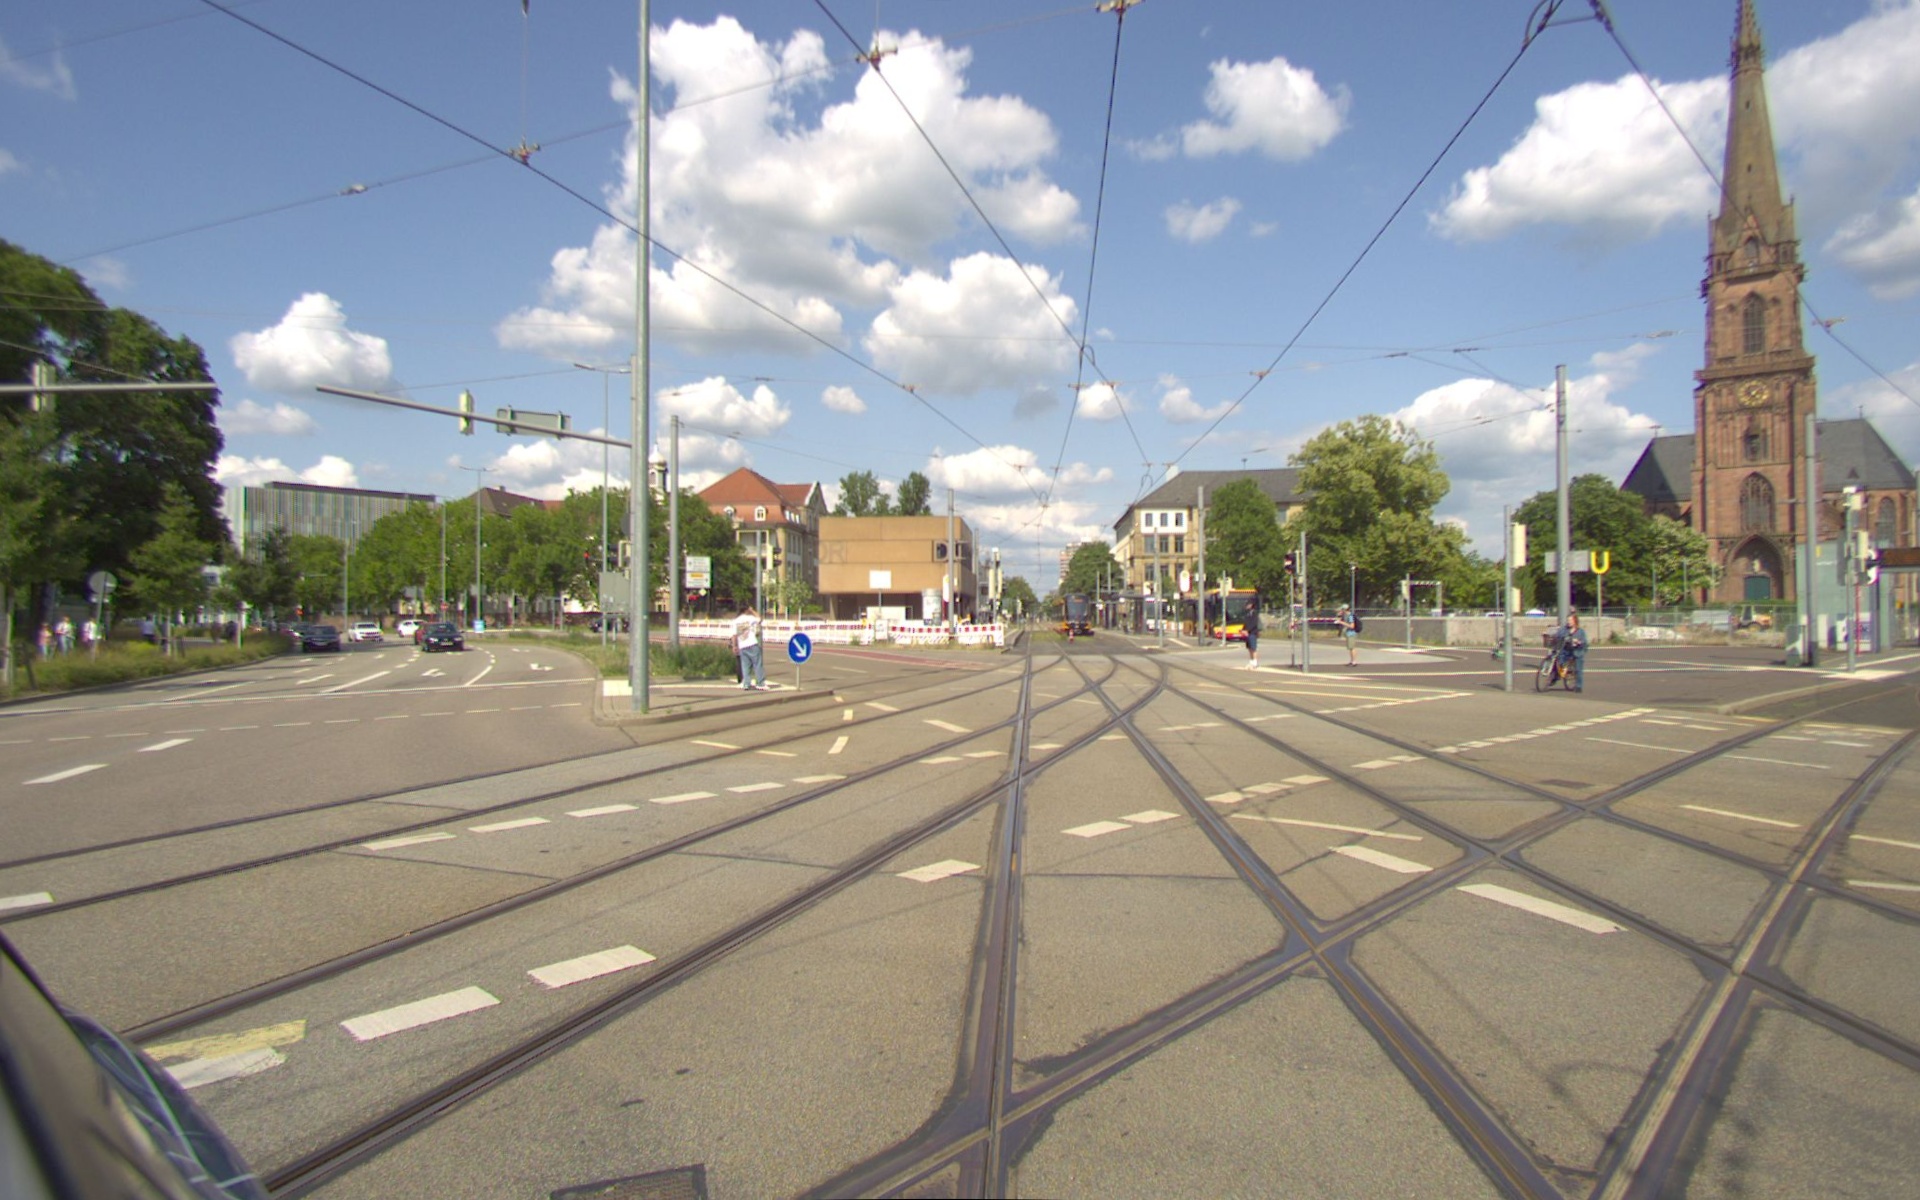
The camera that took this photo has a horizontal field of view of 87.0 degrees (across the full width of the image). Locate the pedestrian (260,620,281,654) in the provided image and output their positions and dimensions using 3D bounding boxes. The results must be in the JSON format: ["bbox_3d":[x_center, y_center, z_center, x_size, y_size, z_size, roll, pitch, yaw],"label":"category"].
[{"bbox_3d":[-41.908,2.235,61.508,0.949,2.029,0.771,-1,0,-29],"label":"pedestrian"}]

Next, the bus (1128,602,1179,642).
[{"bbox_3d":[19.477,2.344,103.116,3.565,3.659,18.833,0,-2,6],"label":"bus"}]

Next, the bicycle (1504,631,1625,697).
[{"bbox_3d":[11.737,1.212,19.636,2.261,1.197,0.998,1,-2,-29],"label":"bicycle"}]

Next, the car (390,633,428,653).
[{"bbox_3d":[-33.950,2.623,62.334,1.572,1.142,3.637,-1,0,-36],"label":"car"}]

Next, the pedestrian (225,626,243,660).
[{"bbox_3d":[-38.458,2.256,53.611,0.755,1.748,0.721,-1,0,-35],"label":"pedestrian"}]

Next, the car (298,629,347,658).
[{"bbox_3d":[-35.151,2.362,55.882,1.795,1.474,4.013,0,-1,-26],"label":"car"}]

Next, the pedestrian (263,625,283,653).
[{"bbox_3d":[-43.254,2.457,63.726,0.912,1.748,0.771,-1,0,-29],"label":"pedestrian"}]

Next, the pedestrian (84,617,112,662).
[{"bbox_3d":[-33.318,1.528,39.120,0.605,1.713,0.892,3,-2,-32],"label":"pedestrian"}]

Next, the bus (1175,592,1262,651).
[{"bbox_3d":[15.452,1.333,61.535,2.798,3.160,12.824,0,-1,4],"label":"bus"}]

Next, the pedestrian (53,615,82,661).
[{"bbox_3d":[-34.053,1.449,38.608,0.605,1.713,0.892,3,-2,-32],"label":"pedestrian"}]

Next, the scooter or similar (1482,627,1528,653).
[{"bbox_3d":[24.806,1.823,46.083,1.626,1.114,0.851,-2,0,7],"label":"scooter or similar"}]

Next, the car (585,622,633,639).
[{"bbox_3d":[-30.591,2.656,88.258,3.724,1.345,1.739,-1,0,-29],"label":"car"}]

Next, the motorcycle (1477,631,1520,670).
[{"bbox_3d":[17.874,1.666,33.597,1.422,1.246,0.486,1,-1,-24],"label":"motorcycle"}]

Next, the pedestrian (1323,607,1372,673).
[{"bbox_3d":[10.967,1.103,28.657,0.754,1.811,1.032,-1,0,-22],"label":"pedestrian"}]

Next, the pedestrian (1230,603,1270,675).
[{"bbox_3d":[7.958,1.048,27.727,0.824,1.917,0.759,-2,0,33],"label":"pedestrian"}]

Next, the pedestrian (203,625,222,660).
[{"bbox_3d":[-38.904,2.203,52.655,0.755,1.748,0.721,-1,0,-35],"label":"pedestrian"}]

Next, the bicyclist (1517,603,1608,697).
[{"bbox_3d":[11.695,0.955,19.640,1.279,1.744,0.998,1,-2,-29],"label":"bicyclist"}]

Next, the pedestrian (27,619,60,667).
[{"bbox_3d":[-32.339,1.510,35.712,0.605,1.635,0.892,3,-2,-30],"label":"pedestrian"}]

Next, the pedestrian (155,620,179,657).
[{"bbox_3d":[-38.107,1.852,48.637,0.732,1.767,0.892,3,-2,-32],"label":"pedestrian"}]

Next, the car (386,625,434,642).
[{"bbox_3d":[-47.463,2.860,87.276,3.982,1.364,1.763,-1,0,28],"label":"car"}]

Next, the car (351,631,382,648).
[{"bbox_3d":[-44.770,2.971,76.296,1.877,1.142,4.114,0,-1,-32],"label":"car"}]

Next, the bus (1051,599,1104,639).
[{"bbox_3d":[10.556,1.781,93.431,3.431,3.208,23.752,0,-1,3],"label":"bus"}]

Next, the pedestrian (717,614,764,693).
[{"bbox_3d":[-4.739,1.136,21.852,0.835,1.660,0.695,1,-1,-27],"label":"pedestrian"}]

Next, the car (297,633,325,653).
[{"bbox_3d":[-50.308,3.325,78.488,1.796,1.474,4.011,0,-1,-32],"label":"car"}]

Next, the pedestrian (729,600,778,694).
[{"bbox_3d":[-4.342,0.976,21.239,0.835,1.931,0.695,1,-1,-27],"label":"pedestrian"}]

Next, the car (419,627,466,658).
[{"bbox_3d":[-26.323,2.112,51.609,1.795,1.474,4.013,0,-1,-22],"label":"car"}]

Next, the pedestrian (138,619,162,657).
[{"bbox_3d":[-38.787,1.805,48.471,0.732,1.759,0.892,3,-2,-32],"label":"pedestrian"}]
